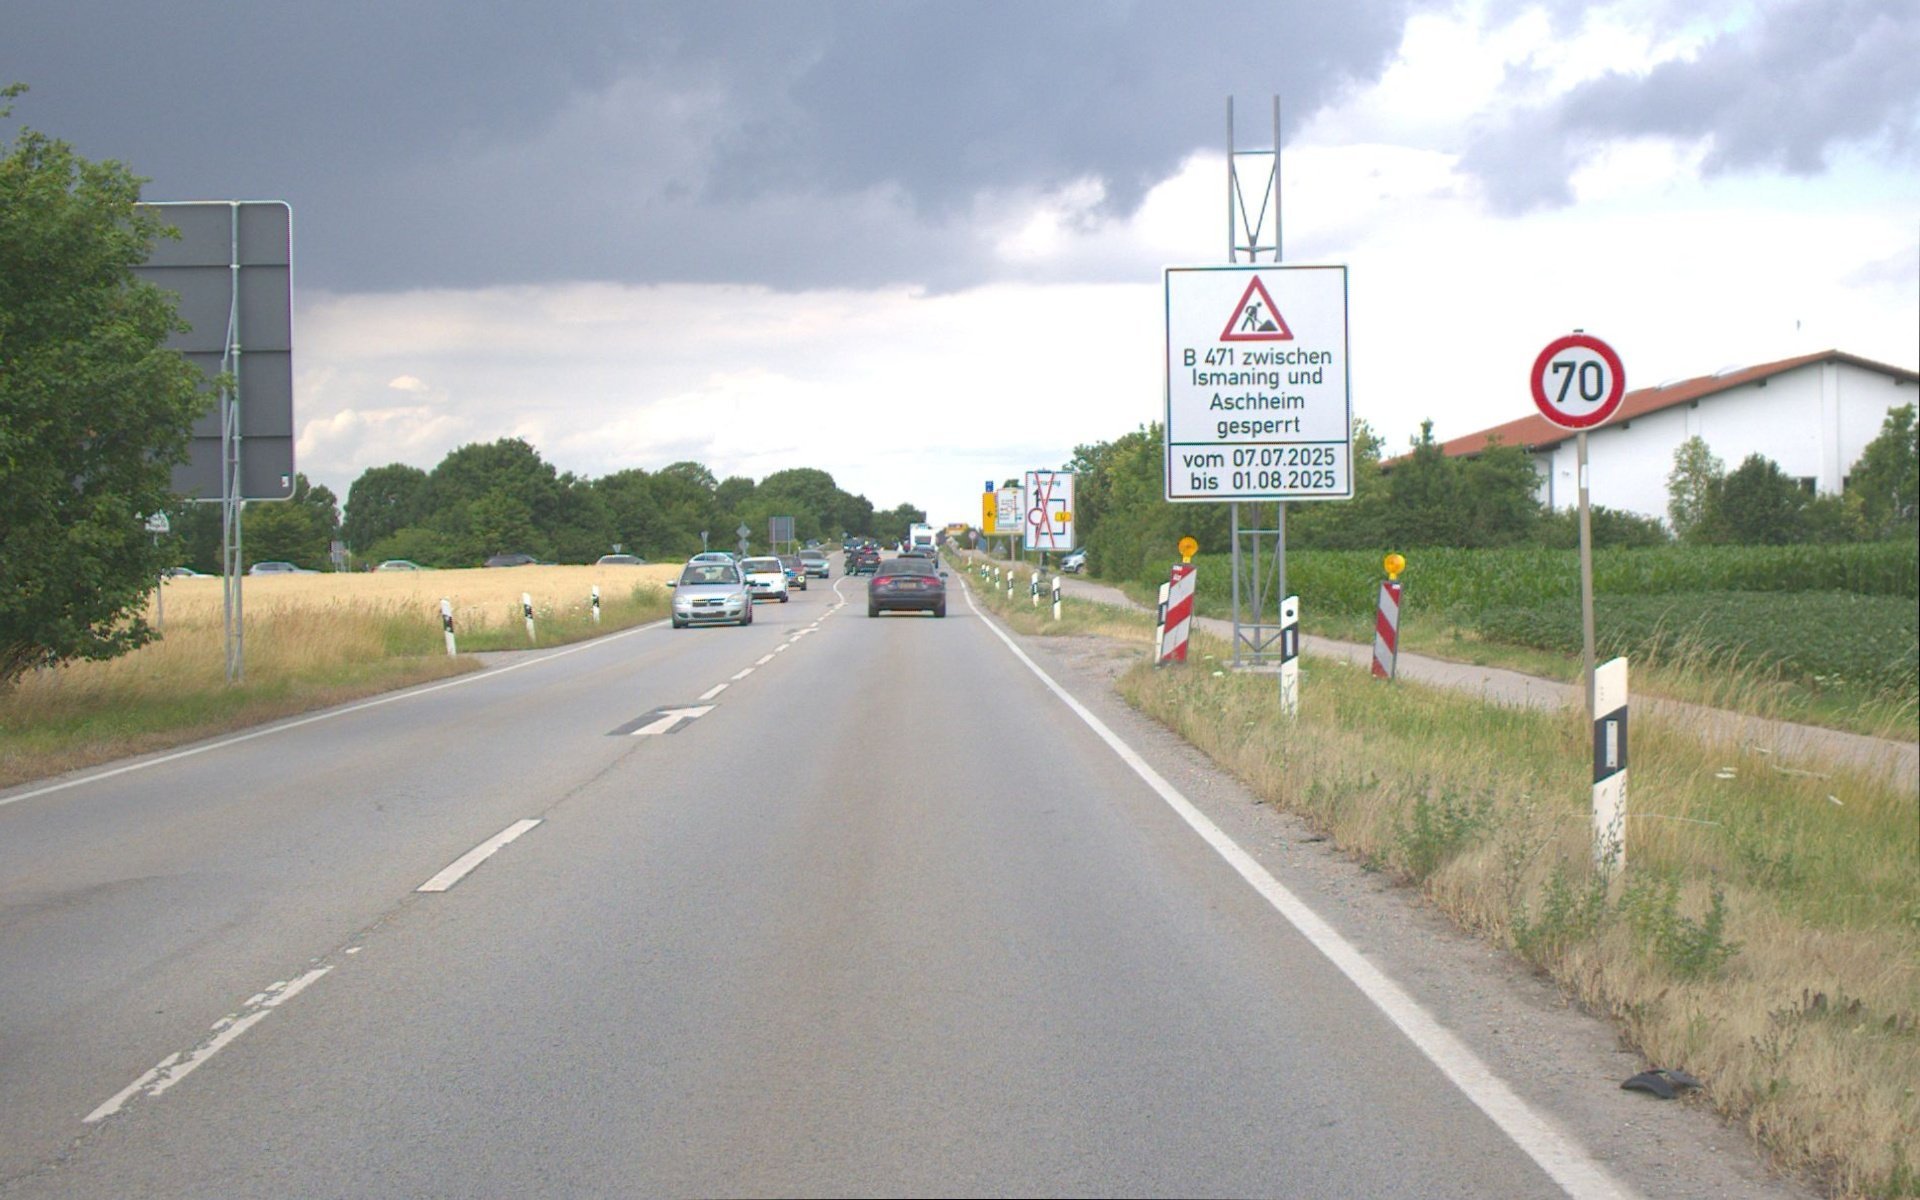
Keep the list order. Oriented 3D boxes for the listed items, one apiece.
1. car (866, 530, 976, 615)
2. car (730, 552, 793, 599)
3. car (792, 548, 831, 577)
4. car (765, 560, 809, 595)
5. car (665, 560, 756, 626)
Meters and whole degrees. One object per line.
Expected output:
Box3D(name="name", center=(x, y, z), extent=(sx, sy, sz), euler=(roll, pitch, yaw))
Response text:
Box3D(name="car", center=(-0.975, -0.654, 82.113), extent=(2.371, 1.874, 4.478), euler=(-3, 1, -3))
Box3D(name="car", center=(-6.455, -0.819, 112.081), extent=(1.806, 1.451, 4.114), euler=(-1, 1, -1))
Box3D(name="car", center=(-8.567, -2.153, 198.529), extent=(2.065, 1.575, 4.765), euler=(-2, 1, -1))
Box3D(name="car", center=(-7.573, -1.006, 150.973), extent=(1.712, 1.483, 4.608), euler=(-1, 1, -1))
Box3D(name="car", center=(-5.412, -0.173, 74.979), extent=(1.728, 1.359, 3.950), euler=(-1, 1, -1))
